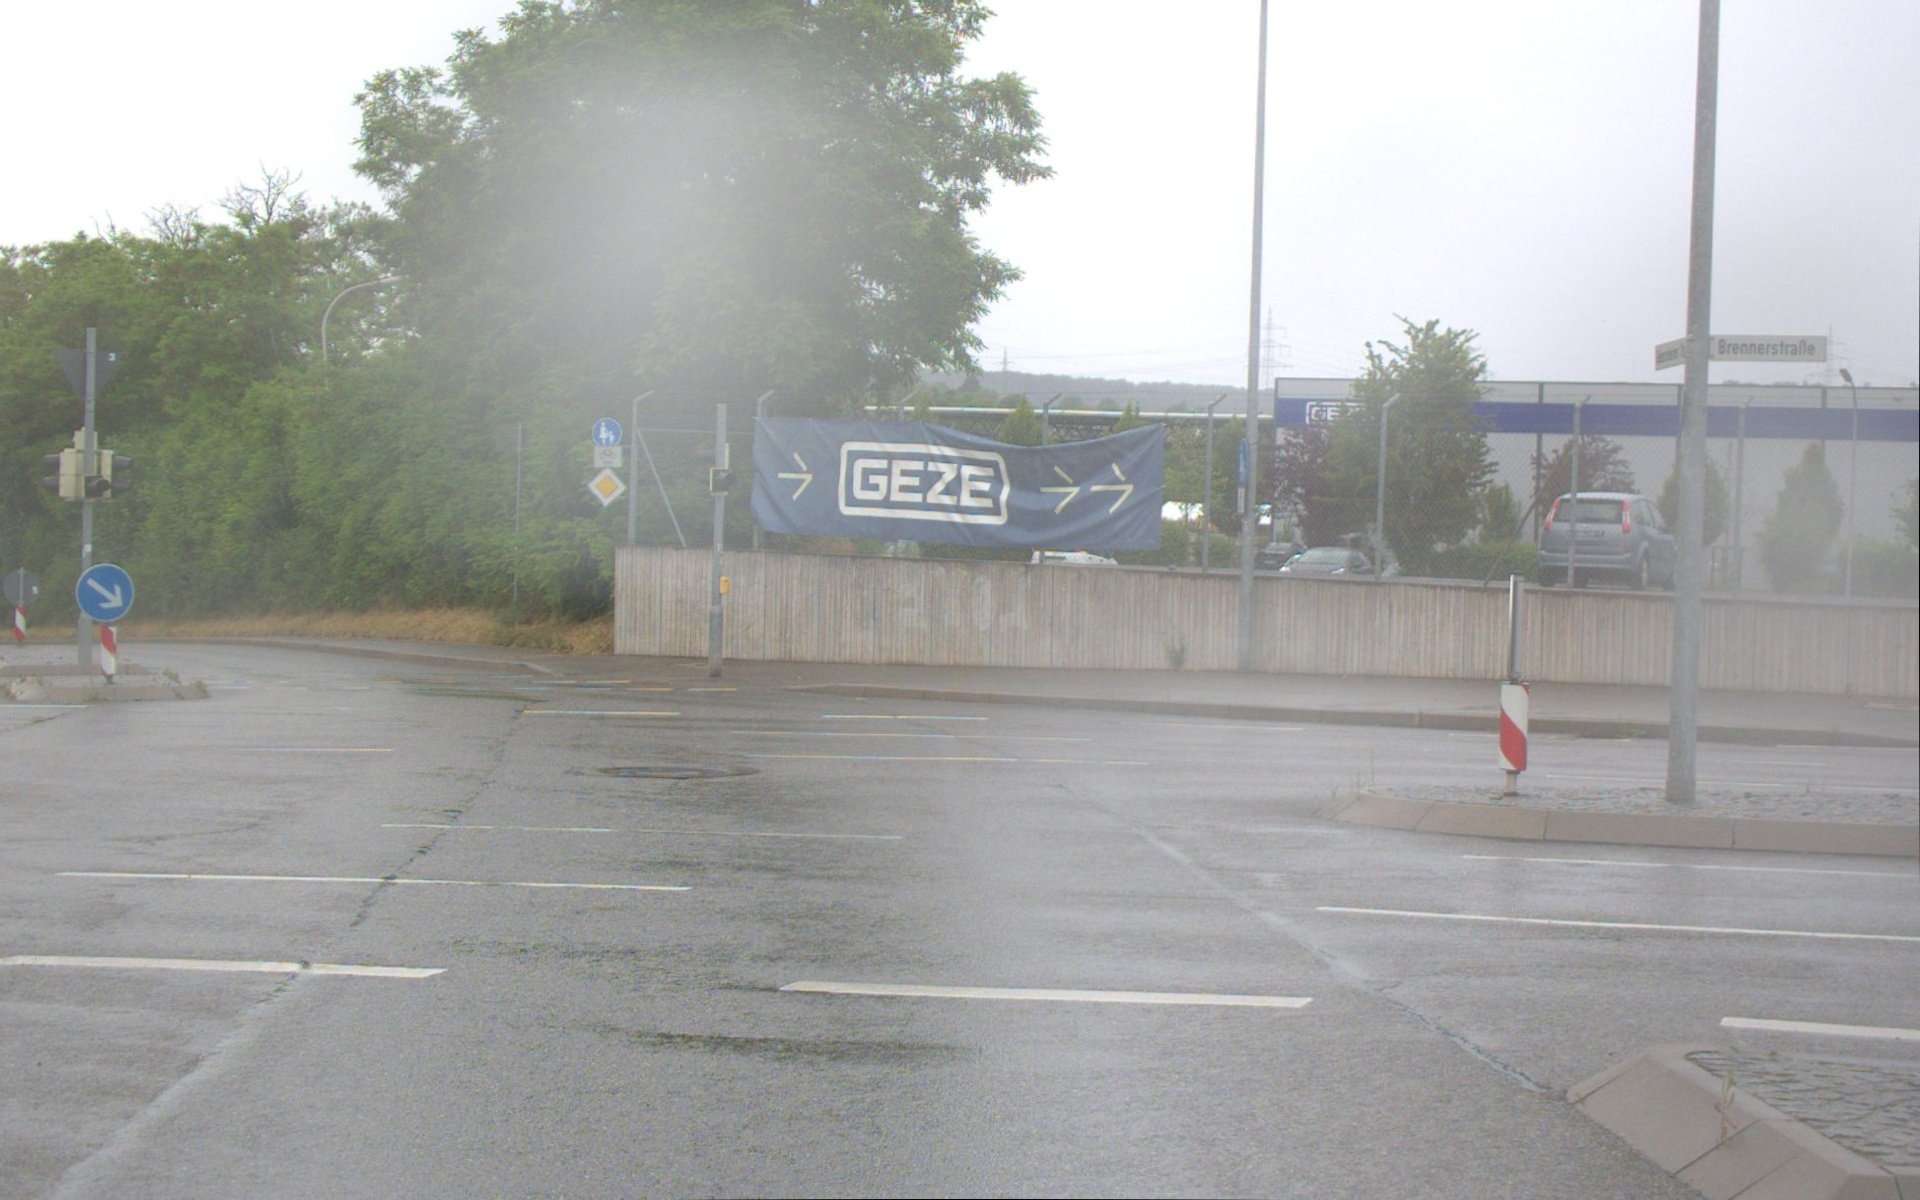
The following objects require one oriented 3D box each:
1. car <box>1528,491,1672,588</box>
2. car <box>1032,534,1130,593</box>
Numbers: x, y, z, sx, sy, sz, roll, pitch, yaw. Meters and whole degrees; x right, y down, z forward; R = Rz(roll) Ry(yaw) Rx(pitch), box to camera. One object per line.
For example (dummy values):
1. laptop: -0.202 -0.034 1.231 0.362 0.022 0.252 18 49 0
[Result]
1. car: 10.717 -0.992 57.431 1.744 1.548 3.527 1 1 21
2. car: 3.396 -1.005 95.896 1.668 1.601 3.527 1 1 21
